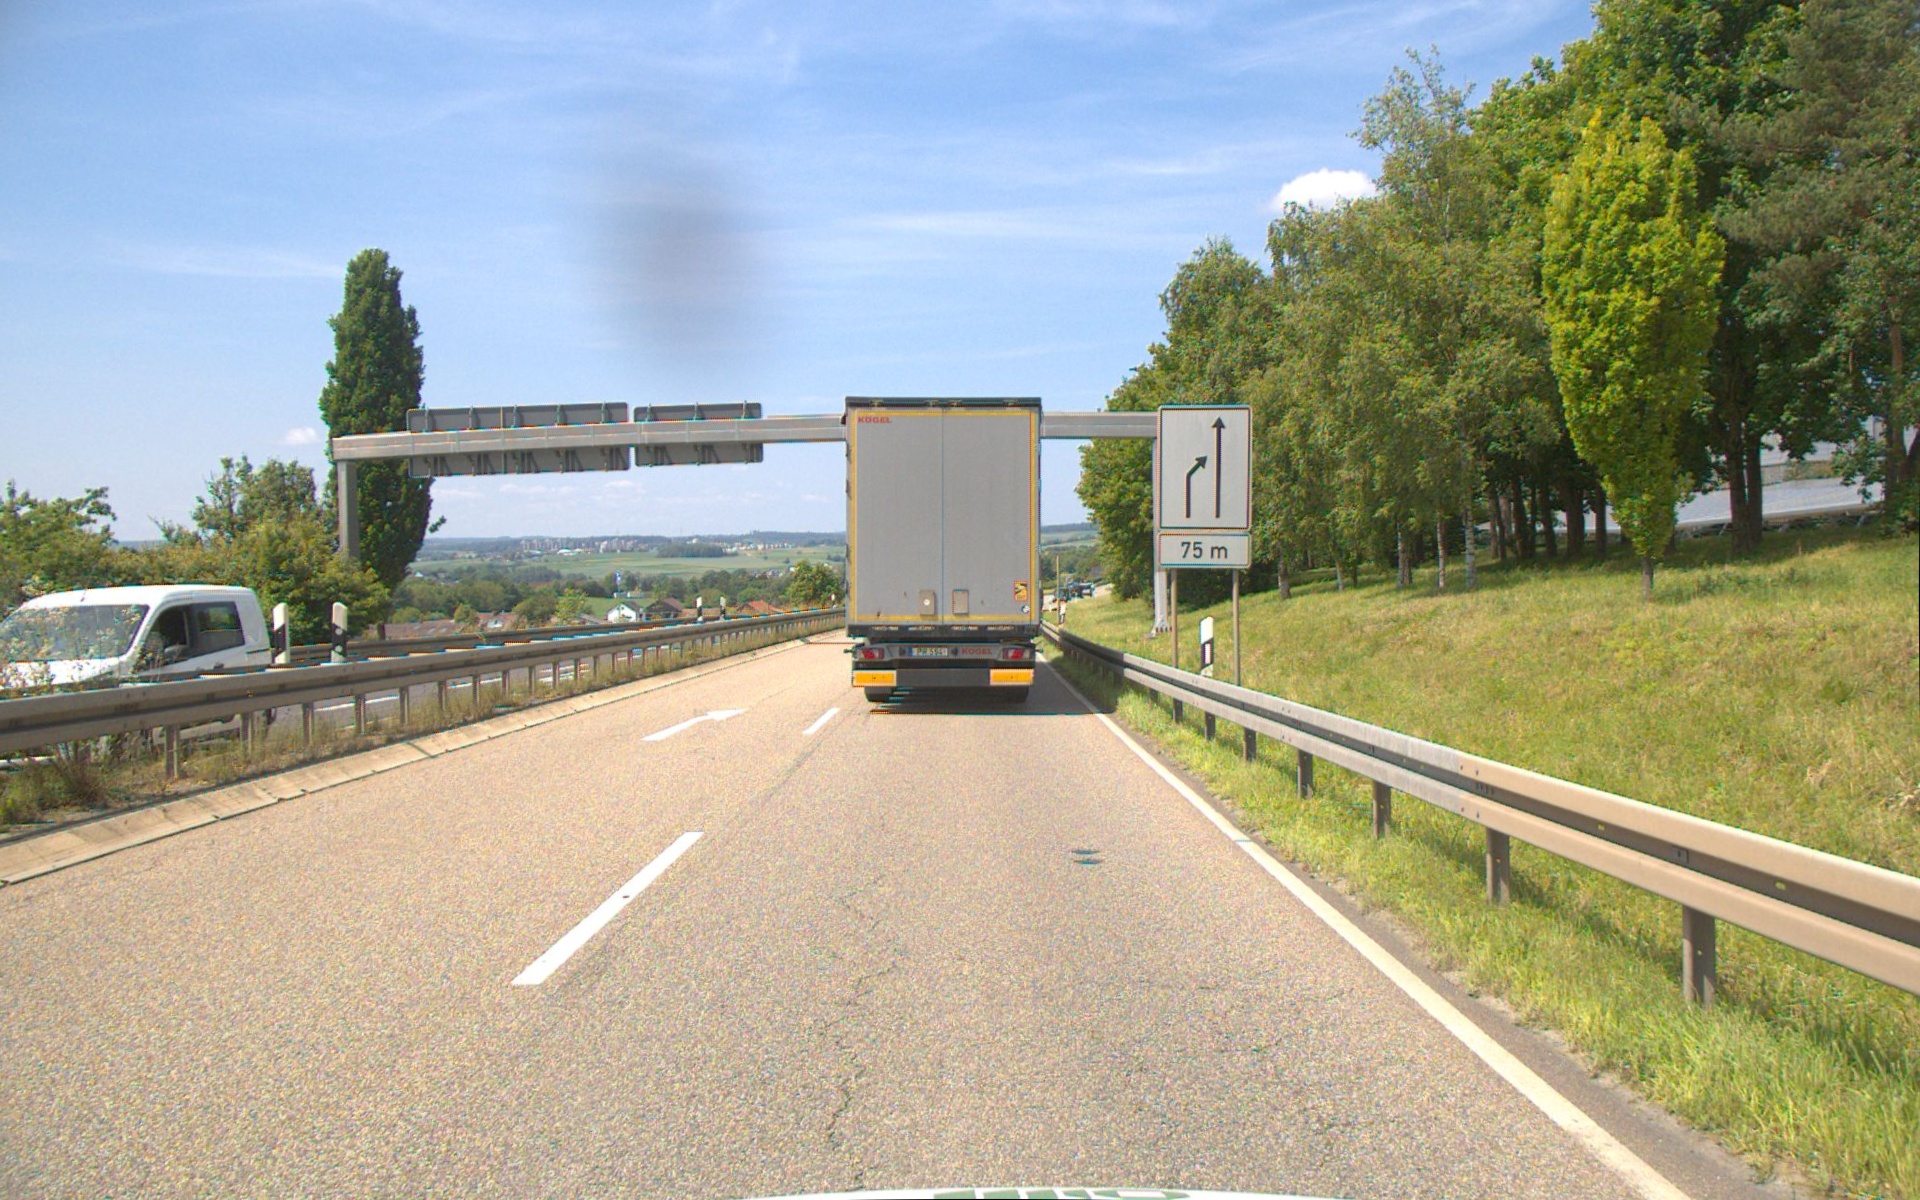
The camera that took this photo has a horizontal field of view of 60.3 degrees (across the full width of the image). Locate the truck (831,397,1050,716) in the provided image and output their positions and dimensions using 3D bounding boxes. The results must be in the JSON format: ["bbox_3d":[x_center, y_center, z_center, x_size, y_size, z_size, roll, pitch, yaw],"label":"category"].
[{"bbox_3d":[-0.192,-0.582,26.463,2.741,3.998,11.342,0,0,0],"label":"truck"}]

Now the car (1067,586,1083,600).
[{"bbox_3d":[14.527,-0.850,209.031,1.750,1.717,4.000,0,-1,0],"label":"car"}]

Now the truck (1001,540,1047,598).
[{"bbox_3d":[4.689,-2.134,118.849,2.599,3.830,10.168,0,-1,6],"label":"truck"}]

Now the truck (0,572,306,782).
[{"bbox_3d":[-8.457,0.723,16.661,1.811,1.779,4.537,-3,-1,1],"label":"truck"}]

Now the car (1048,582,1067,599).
[{"bbox_3d":[10.136,-0.963,172.066,1.750,1.717,4.000,0,-1,0],"label":"car"}]

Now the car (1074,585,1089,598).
[{"bbox_3d":[16.775,-1.219,229.035,1.750,1.717,4.000,0,-1,0],"label":"car"}]
